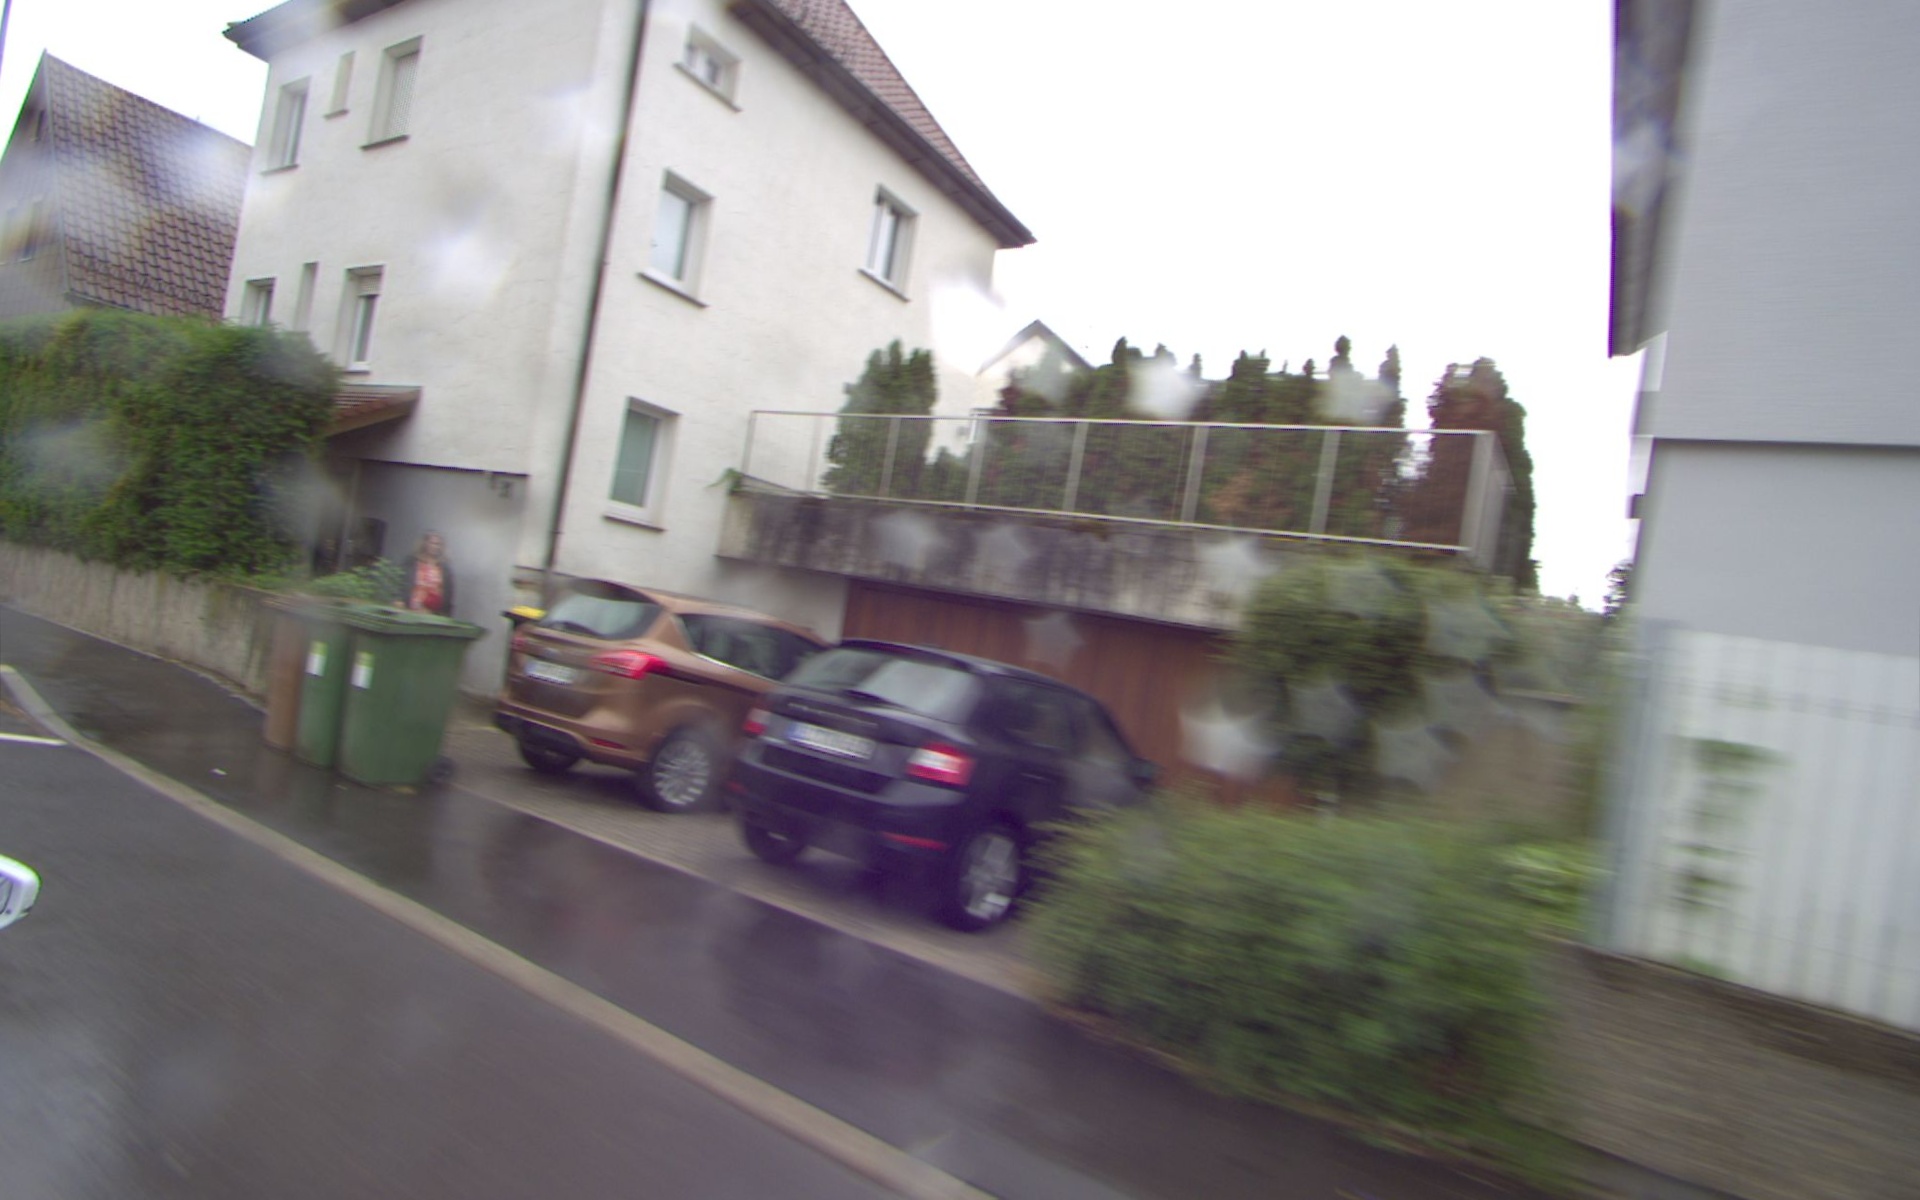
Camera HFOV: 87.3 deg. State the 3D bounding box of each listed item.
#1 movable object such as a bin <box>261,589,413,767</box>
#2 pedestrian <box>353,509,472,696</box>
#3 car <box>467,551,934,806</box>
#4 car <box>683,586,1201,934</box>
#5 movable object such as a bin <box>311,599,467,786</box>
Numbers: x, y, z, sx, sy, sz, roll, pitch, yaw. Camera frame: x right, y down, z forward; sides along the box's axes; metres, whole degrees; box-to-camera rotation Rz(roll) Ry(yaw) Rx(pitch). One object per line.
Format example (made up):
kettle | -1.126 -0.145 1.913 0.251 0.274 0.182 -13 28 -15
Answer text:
movable object such as a bin | -4.185 0.524 6.771 0.529 1.089 0.569 8 -1 32
pedestrian | -5.459 0.030 10.042 0.609 1.746 0.629 7 -1 34
car | -1.915 0.630 8.338 1.555 1.528 3.481 7 -1 33
car | 0.159 1.105 6.578 1.555 1.493 3.462 7 -8 33
movable object such as a bin | -3.673 0.592 6.488 0.529 1.089 0.569 8 -1 32
